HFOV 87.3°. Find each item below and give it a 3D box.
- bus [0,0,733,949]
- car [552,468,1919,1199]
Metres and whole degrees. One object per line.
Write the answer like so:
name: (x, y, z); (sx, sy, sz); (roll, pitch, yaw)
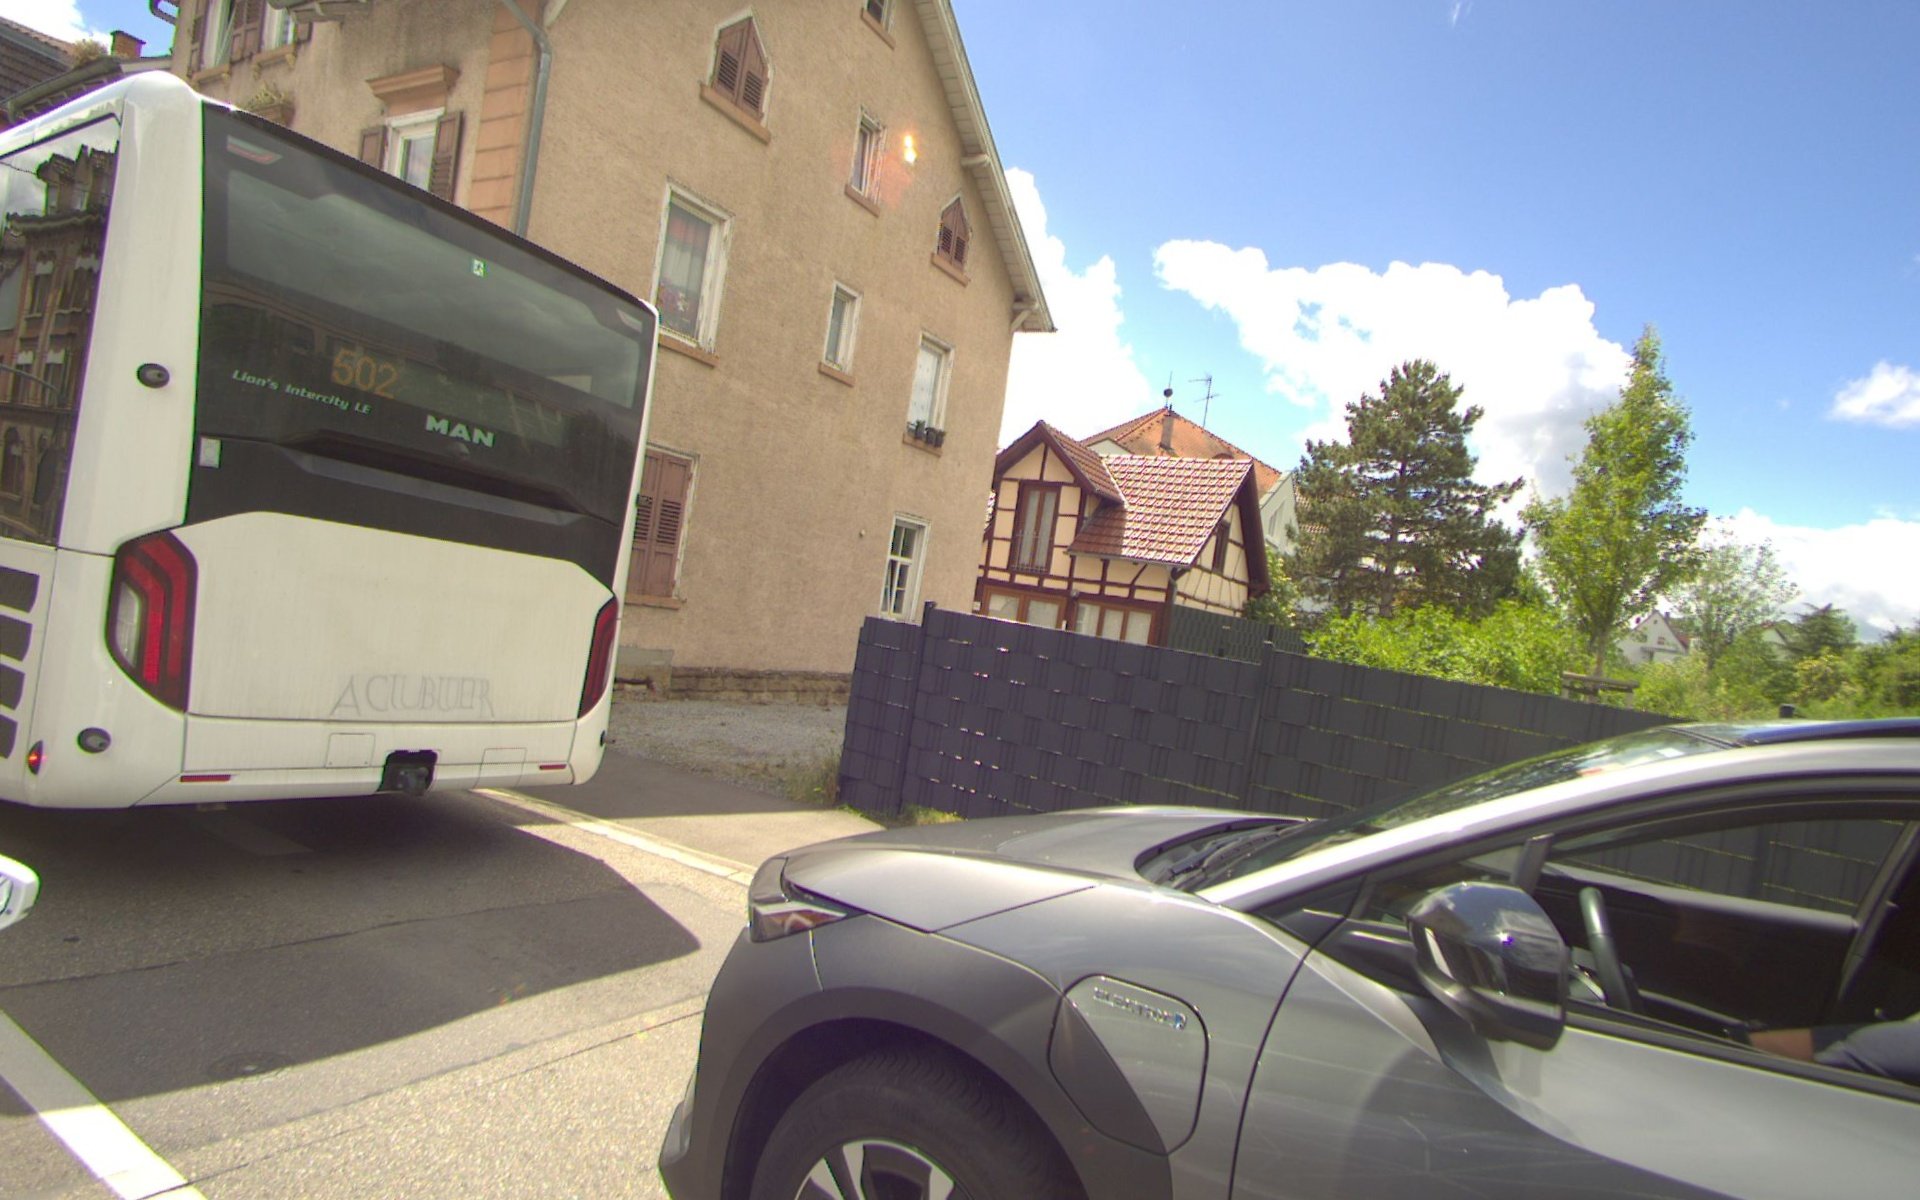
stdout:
bus: (-7.465, -1.012, 7.826); (12.281, 3.551, 2.910); (6, -2, 32)
car: (1.625, 0.845, 1.862); (4.504, 1.648, 1.997); (7, -1, 31)
